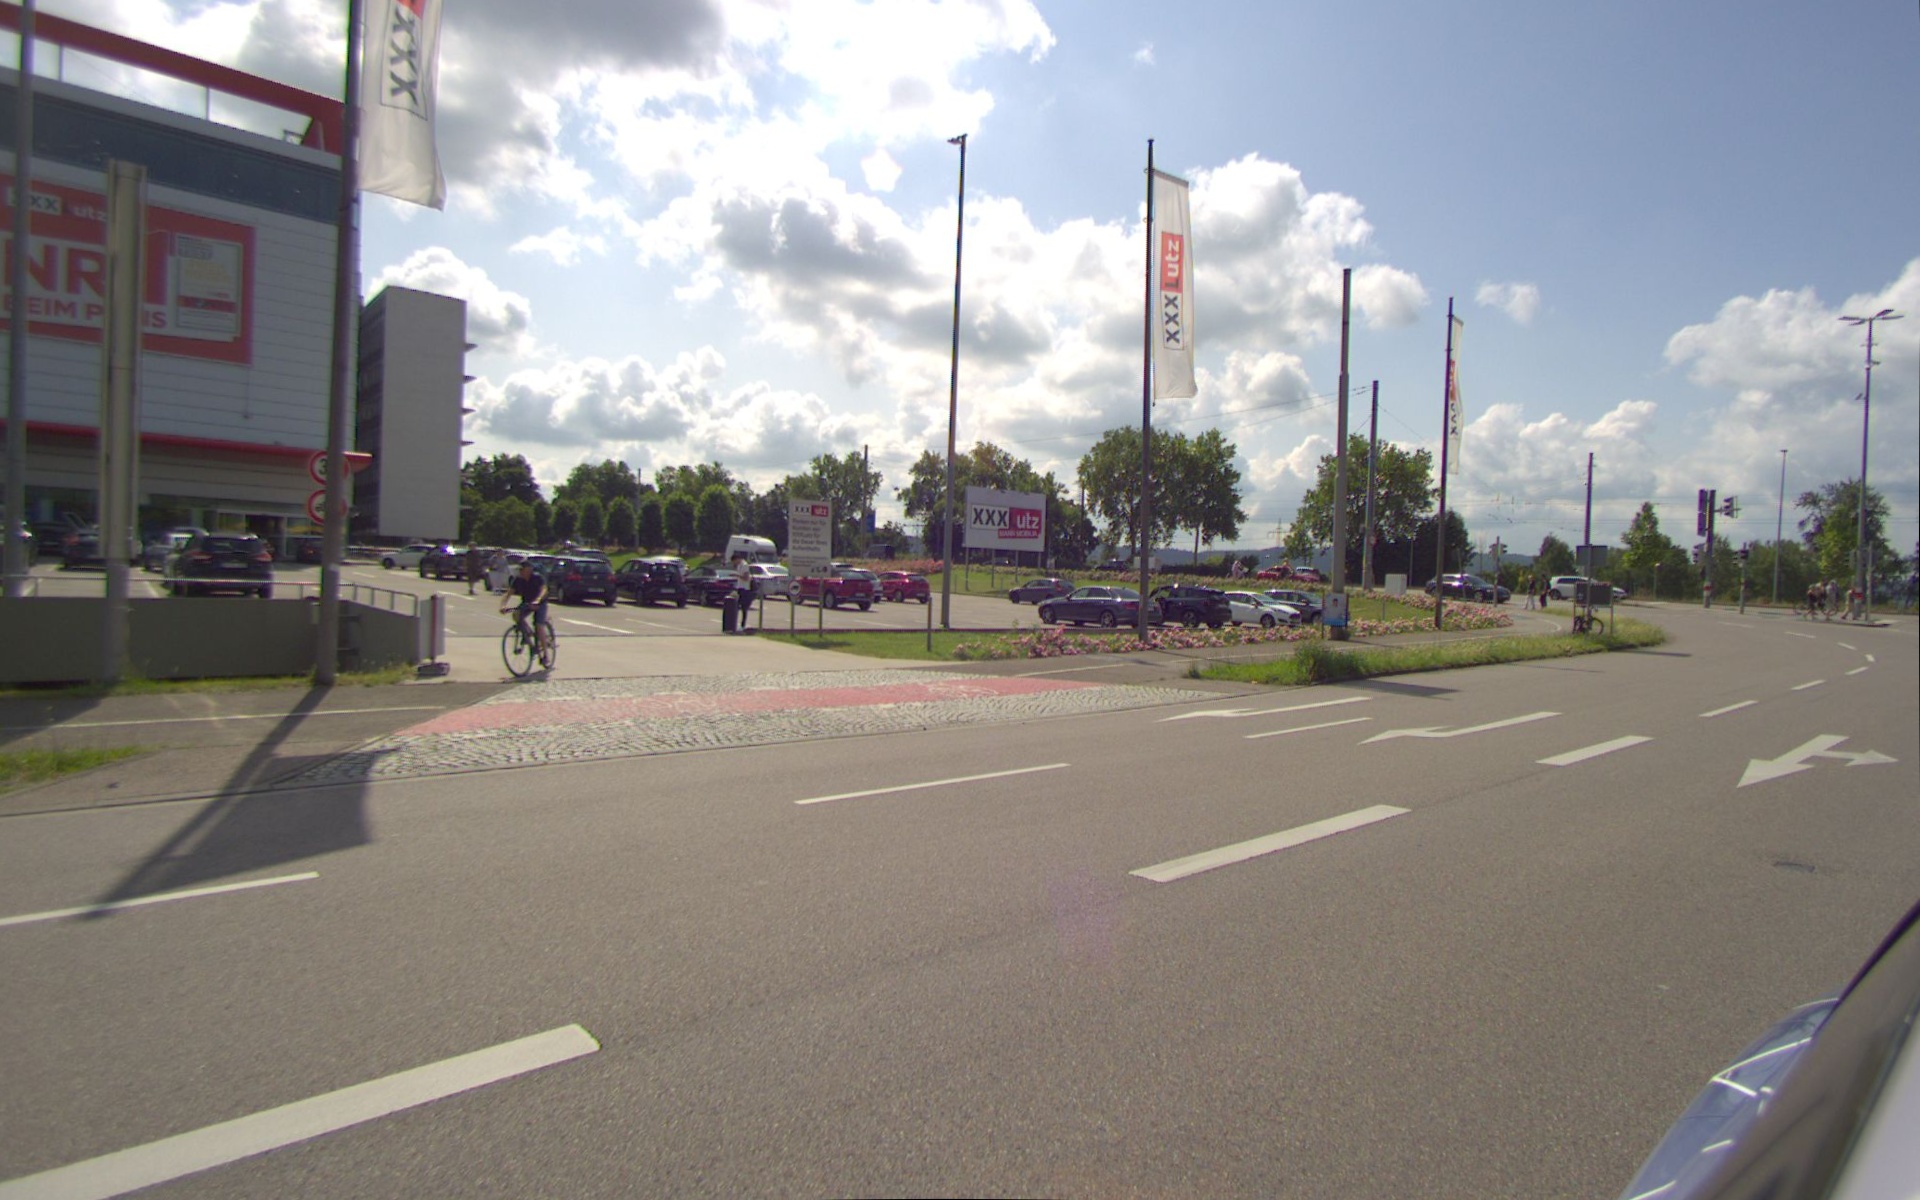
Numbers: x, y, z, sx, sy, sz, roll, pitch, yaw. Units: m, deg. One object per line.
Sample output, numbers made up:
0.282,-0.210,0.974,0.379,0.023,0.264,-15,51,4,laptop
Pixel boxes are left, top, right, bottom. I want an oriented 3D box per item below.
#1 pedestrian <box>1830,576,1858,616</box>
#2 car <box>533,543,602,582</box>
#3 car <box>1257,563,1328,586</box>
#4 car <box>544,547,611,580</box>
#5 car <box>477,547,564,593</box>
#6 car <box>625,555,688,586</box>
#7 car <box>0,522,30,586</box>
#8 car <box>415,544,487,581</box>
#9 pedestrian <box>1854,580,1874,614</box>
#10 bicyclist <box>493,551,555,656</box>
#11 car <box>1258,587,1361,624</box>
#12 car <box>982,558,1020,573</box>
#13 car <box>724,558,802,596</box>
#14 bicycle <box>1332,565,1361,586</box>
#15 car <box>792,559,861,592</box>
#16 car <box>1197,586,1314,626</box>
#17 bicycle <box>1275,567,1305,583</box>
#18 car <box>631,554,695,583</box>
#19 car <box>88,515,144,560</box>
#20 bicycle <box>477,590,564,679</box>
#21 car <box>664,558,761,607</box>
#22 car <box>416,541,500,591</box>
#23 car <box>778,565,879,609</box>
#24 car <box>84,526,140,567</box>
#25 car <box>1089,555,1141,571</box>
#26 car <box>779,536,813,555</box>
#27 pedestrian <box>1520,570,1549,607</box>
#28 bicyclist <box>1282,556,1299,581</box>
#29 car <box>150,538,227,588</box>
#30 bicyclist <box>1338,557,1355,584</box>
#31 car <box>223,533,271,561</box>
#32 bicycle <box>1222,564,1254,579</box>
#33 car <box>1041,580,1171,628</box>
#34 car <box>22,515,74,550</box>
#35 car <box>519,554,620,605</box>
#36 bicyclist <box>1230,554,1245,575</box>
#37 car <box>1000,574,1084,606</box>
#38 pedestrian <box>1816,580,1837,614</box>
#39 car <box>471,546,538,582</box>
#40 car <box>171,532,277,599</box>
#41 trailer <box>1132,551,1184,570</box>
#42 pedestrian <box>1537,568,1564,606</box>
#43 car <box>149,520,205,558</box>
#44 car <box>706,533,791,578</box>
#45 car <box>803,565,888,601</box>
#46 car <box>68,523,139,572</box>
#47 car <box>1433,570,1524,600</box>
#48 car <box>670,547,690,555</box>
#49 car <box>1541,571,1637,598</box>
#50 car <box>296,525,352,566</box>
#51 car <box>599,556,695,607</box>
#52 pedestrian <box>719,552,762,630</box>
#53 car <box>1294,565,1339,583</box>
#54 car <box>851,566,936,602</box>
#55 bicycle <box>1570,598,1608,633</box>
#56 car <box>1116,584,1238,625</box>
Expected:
39.369,-0.186,45.070,0.686,1.749,0.690,0,2,-30,pedestrian
-18.679,-1.800,48.109,1.964,1.760,3.998,0,2,-38,car
22.254,-1.714,67.867,1.718,1.377,4.246,0,4,-39,car
-20.047,-1.901,52.969,1.964,1.607,4.234,1,1,-40,car
-16.059,-1.085,36.855,1.793,1.527,4.158,1,1,-40,car
-15.475,-1.521,51.481,1.639,1.470,3.996,1,1,-40,car
-26.622,-1.330,27.546,1.783,1.640,4.367,2,2,-42,car
-22.725,-1.683,45.100,1.964,1.527,3.996,2,1,-40,car
41.125,-0.141,46.053,0.460,1.543,0.557,2,0,-32,pedestrian
-6.130,0.038,14.247,0.604,1.430,0.716,2,1,-9,bicyclist
15.483,0.213,44.978,1.686,1.435,3.993,0,2,-42,car
5.088,-4.300,126.133,1.933,1.527,4.776,3,1,-41,car
-8.511,-1.000,43.460,1.573,1.379,4.036,2,2,-39,car
22.724,-1.455,59.551,0.609,1.180,1.505,2,0,-36,bicycle
-7.669,-1.423,57.867,1.821,1.607,4.232,1,2,-42,car
12.156,0.194,41.827,1.765,1.457,4.368,0,2,-40,car
20.512,-1.572,62.875,0.654,0.973,1.694,2,0,-40,bicycle
-16.799,-1.786,57.158,1.887,1.549,3.992,1,1,-43,car
-41.174,-3.002,49.342,1.965,2.039,3.993,1,1,-42,car
-6.135,0.447,14.228,0.612,1.081,1.971,2,2,-9,bicycle
-8.887,-0.652,36.052,1.651,1.527,4.371,1,3,-39,car
-17.965,-1.230,36.155,1.666,1.607,4.022,2,1,-42,car
-5.126,-0.528,38.981,1.813,1.379,4.371,2,2,-39,car
-34.993,-2.179,41.743,1.676,1.530,4.347,1,1,-41,car
16.523,-3.931,108.209,5.231,1.593,1.970,3,2,41,car
-24.763,-8.188,152.787,5.575,2.522,1.929,6,2,44,car
28.811,-0.589,50.754,0.848,1.787,0.865,1,1,-14,pedestrian
20.535,-1.960,62.876,0.639,1.494,0.742,2,0,-40,bicyclist
-24.986,-1.207,32.723,1.728,1.445,4.299,3,0,-40,car
22.761,-1.712,59.546,0.609,1.555,0.697,2,0,-36,bicyclist
-37.311,-2.742,52.936,1.688,1.360,3.869,1,1,-40,car
18.018,-1.862,65.636,0.586,0.973,1.985,2,0,-40,bicycle
4.970,0.087,34.977,1.823,1.495,4.370,0,2,-39,car
-43.252,-3.165,48.042,1.709,1.497,4.174,1,1,-41,car
-12.804,-0.699,33.027,1.813,1.378,4.372,0,4,-39,car
18.004,-2.291,65.674,0.582,1.342,0.686,2,0,-40,bicyclist
4.404,-0.548,54.676,2.012,1.426,4.371,2,3,-39,car
39.488,-0.137,46.124,0.460,1.543,0.586,0,1,-32,pedestrian
-21.016,-1.632,46.613,1.817,1.571,4.058,0,2,-39,car
-19.284,-0.933,26.440,1.713,1.550,4.059,0,4,-44,car
20.460,-4.061,104.765,5.162,1.854,1.798,2,2,41,trailer
28.655,-0.632,49.128,0.744,1.824,0.824,1,1,-14,pedestrian
-39.422,-3.031,50.919,1.965,1.745,3.993,1,1,-42,car
-15.919,-3.342,75.670,3.065,3.193,7.903,0,3,-38,car
-5.342,-0.811,46.726,1.813,1.379,4.371,1,3,-39,car
-31.260,-1.935,36.879,1.821,1.607,4.232,1,2,-42,car
28.981,-0.843,56.729,1.877,1.501,4.210,0,3,-27,car
-51.470,-9.057,186.002,1.902,1.382,3.736,1,1,-43,car
37.653,-0.920,60.626,1.980,1.430,4.488,0,3,-43,car
-34.497,-2.907,54.843,1.965,2.039,3.995,2,1,-41,car
-10.763,-0.657,34.609,1.597,1.460,4.371,2,2,-39,car
-5.269,-0.213,24.251,0.853,1.805,0.786,2,0,-21,pedestrian
32.451,-2.348,92.257,3.476,1.474,1.677,-1,1,41,car
-3.231,-0.789,48.504,1.813,1.445,4.371,2,2,-39,car
18.329,0.431,29.488,1.517,0.964,0.518,0,1,-41,bicycle
8.228,0.132,38.675,1.824,1.434,4.368,0,2,-40,car
